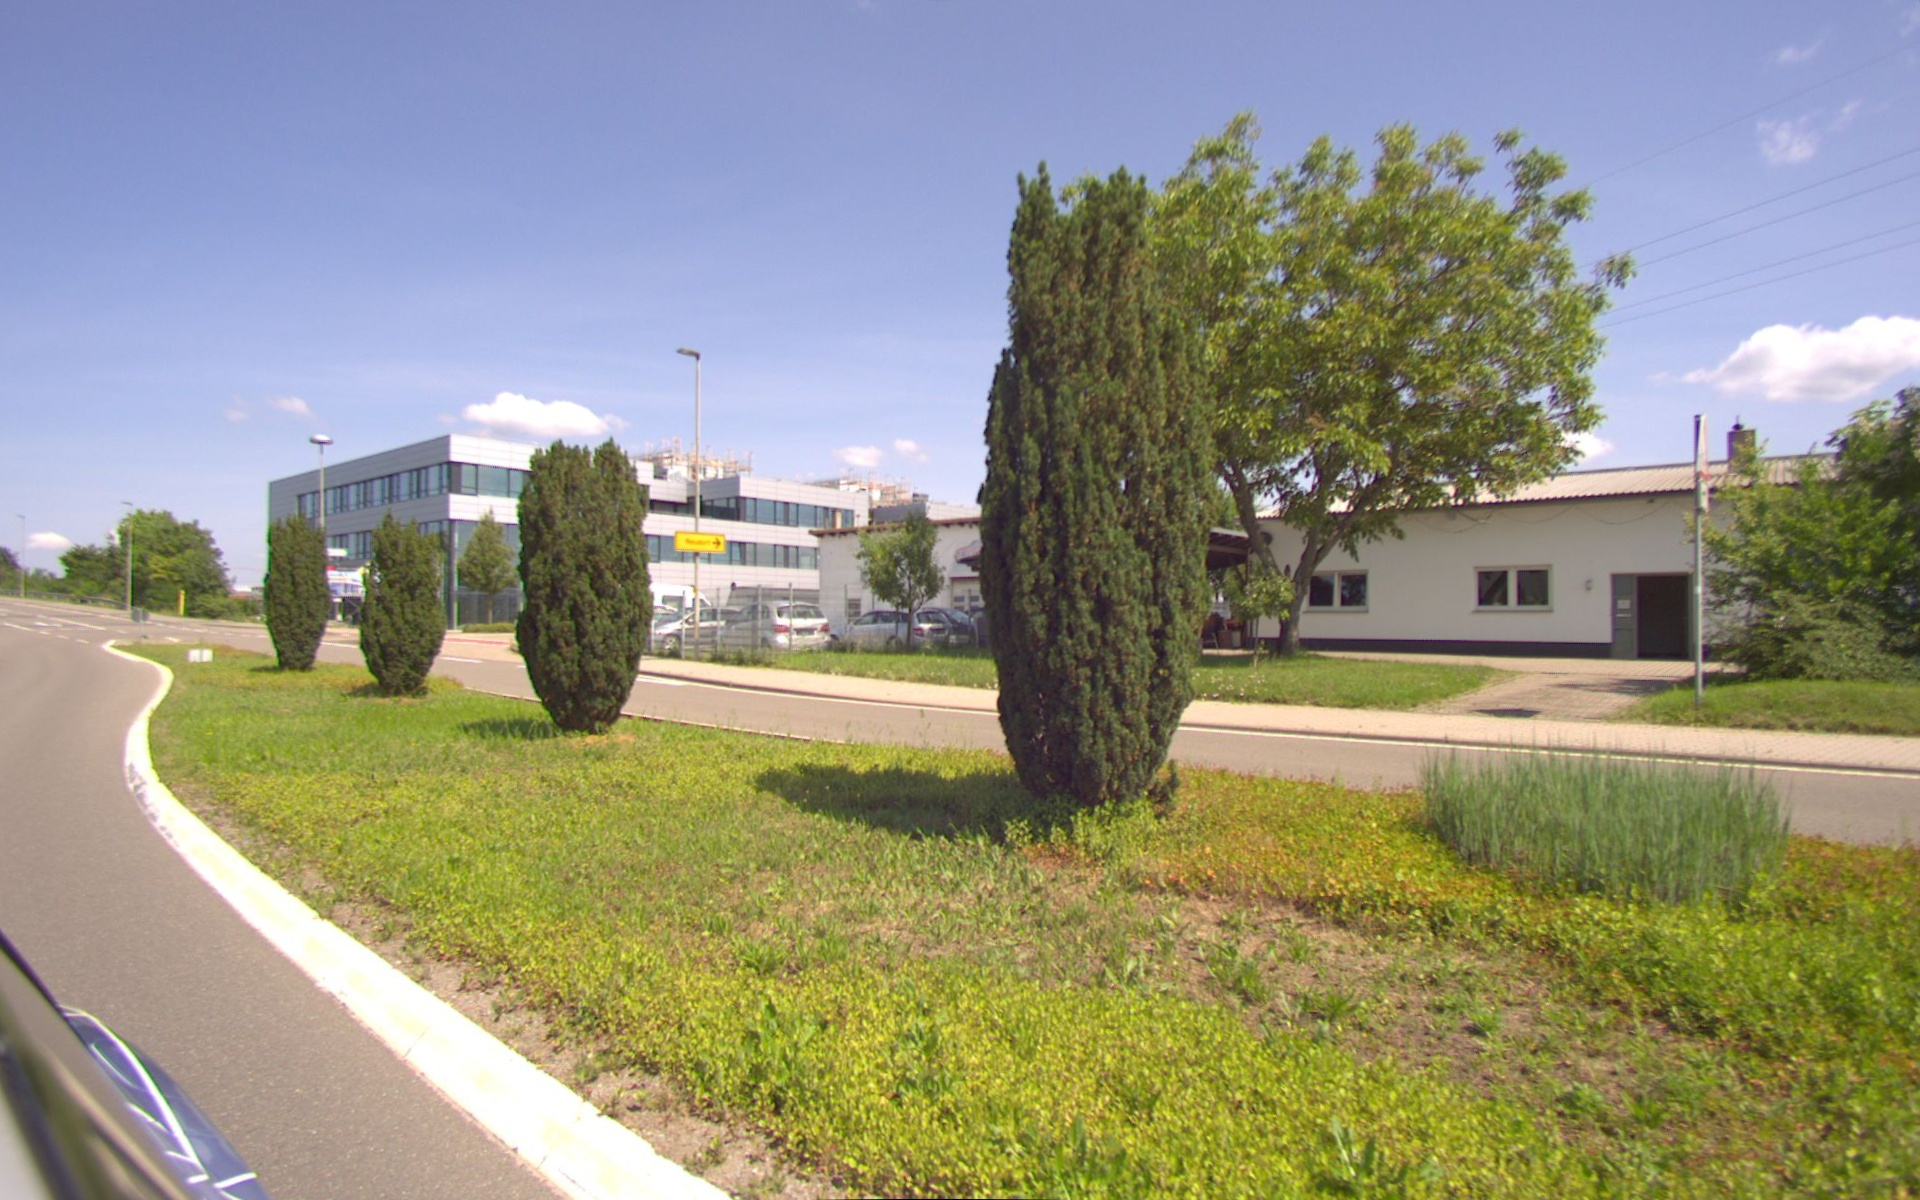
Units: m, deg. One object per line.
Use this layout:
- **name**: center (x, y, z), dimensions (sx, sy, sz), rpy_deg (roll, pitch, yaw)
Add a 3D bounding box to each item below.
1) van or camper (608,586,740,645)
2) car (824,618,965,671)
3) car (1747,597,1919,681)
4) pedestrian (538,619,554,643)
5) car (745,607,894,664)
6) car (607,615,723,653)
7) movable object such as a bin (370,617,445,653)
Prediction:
- **van or camper**: center (-12.799, 0.690, 45.257), dimensions (5.491, 2.516, 2.085), rpy_deg (1, -1, -21)
- **car**: center (-1.990, 1.267, 30.076), dimensions (3.999, 1.453, 1.972), rpy_deg (-1, -1, 42)
- **car**: center (16.884, 0.676, 17.965), dimensions (4.514, 1.419, 1.973), rpy_deg (-1, -2, 41)
- **pedestrian**: center (-30.658, 2.286, 74.933), dimensions (0.774, 1.741, 0.772), rpy_deg (0, -1, 38)
- **car**: center (-3.916, 0.945, 27.847), dimensions (4.000, 1.453, 1.972), rpy_deg (-1, -2, 43)
- **car**: center (-10.810, 1.218, 37.130), dimensions (3.823, 1.331, 1.697), rpy_deg (1, -1, -27)
- **movable object such as a bin**: center (-38.344, 2.384, 70.163), dimensions (5.442, 2.428, 2.148), rpy_deg (0, -1, 32)
